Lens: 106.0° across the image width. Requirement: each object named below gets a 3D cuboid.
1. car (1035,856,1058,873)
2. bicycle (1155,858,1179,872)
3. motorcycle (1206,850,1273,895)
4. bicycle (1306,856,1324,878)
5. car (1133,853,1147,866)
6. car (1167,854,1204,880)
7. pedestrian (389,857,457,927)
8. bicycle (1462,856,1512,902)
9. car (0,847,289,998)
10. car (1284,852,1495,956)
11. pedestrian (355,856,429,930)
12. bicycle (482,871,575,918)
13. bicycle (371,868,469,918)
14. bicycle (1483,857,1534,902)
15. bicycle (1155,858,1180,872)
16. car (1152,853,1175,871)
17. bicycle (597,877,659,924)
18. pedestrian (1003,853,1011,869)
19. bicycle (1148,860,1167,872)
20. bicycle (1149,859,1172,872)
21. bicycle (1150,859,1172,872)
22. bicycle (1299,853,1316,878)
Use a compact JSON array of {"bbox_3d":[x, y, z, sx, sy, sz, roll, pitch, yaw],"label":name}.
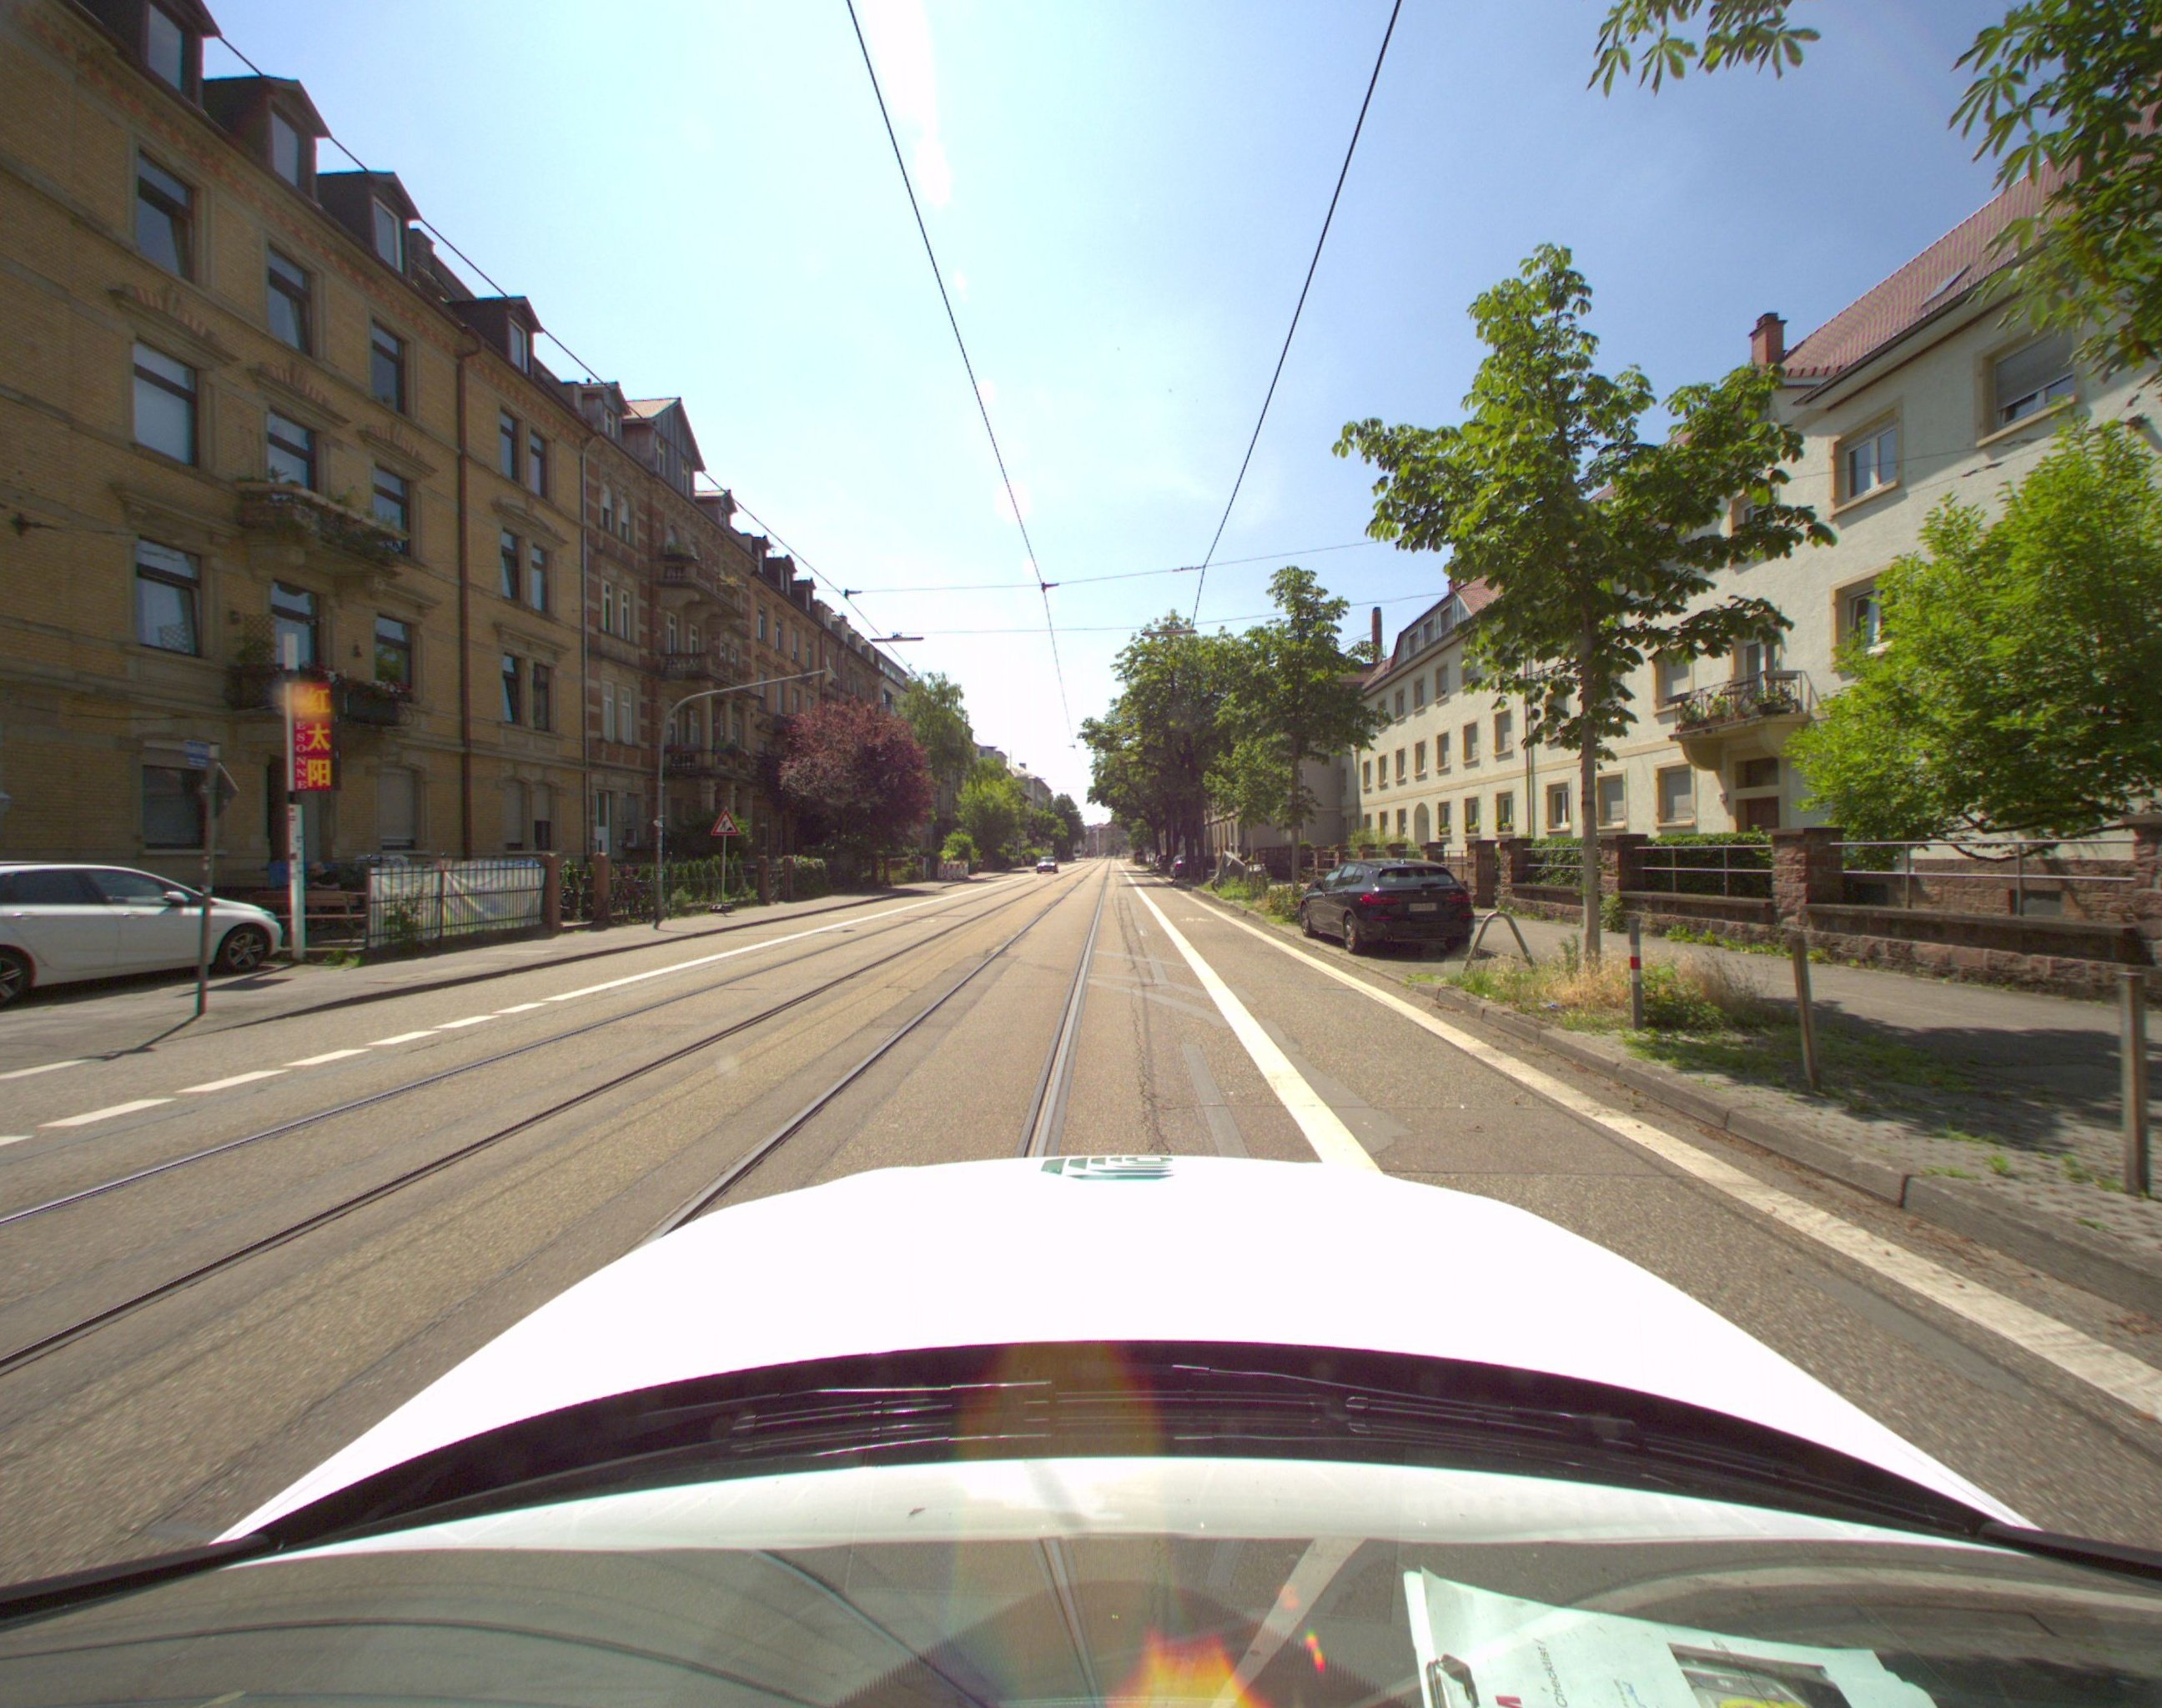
[{"bbox_3d":[-2.977,0.878,70.532,1.680,1.454,3.750,0,0,2],"label":"car"},{"bbox_3d":[6.869,0.874,64.925,1.879,1.052,0.539,-1,-1,8],"label":"bicycle"},{"bbox_3d":[5.701,0.638,29.417,2.292,1.540,0.874,0,0,45],"label":"motorcycle"},{"bbox_3d":[11.525,0.633,40.147,0.457,1.056,1.565,-1,0,2],"label":"bicycle"},{"bbox_3d":[9.078,0.842,126.509,1.985,2.035,4.699,-1,0,2],"label":"car"},{"bbox_3d":[6.492,0.755,50.863,1.767,1.501,4.306,-2,0,1],"label":"car"},{"bbox_3d":[-12.809,0.719,15.879,0.708,1.298,0.711,-2,0,-2],"label":"pedestrian"},{"bbox_3d":[10.404,0.619,20.923,0.496,1.102,1.809,-1,0,5],"label":"bicycle"},{"bbox_3d":[-12.498,0.727,9.874,1.861,1.600,4.097,1,0,-3],"label":"car"},{"bbox_3d":[4.974,0.702,13.972,1.763,1.426,4.861,-1,0,0],"label":"car"},{"bbox_3d":[-12.777,0.709,15.124,0.708,1.298,0.711,-2,0,-2],"label":"pedestrian"},{"bbox_3d":[-12.119,0.887,17.870,1.772,1.003,0.474,0,0,5],"label":"bicycle"},{"bbox_3d":[-13.688,0.800,16.877,1.697,1.003,0.474,0,0,5],"label":"bicycle"},{"bbox_3d":[11.096,0.639,21.177,0.496,1.102,1.809,-1,0,5],"label":"bicycle"},{"bbox_3d":[6.924,0.868,65.301,1.952,1.063,0.600,-1,-1,8],"label":"bicycle"},{"bbox_3d":[7.047,0.694,69.614,1.615,1.448,3.811,-3,-1,2],"label":"car"},{"bbox_3d":[-10.487,1.050,18.919,0.452,1.003,1.805,0,0,-1],"label":"bicycle"},{"bbox_3d":[-7.348,0.687,80.670,0.748,1.629,0.833,0,-1,0],"label":"pedestrian"},{"bbox_3d":[7.429,1.160,79.041,1.809,1.113,0.493,-1,-2,1],"label":"bicycle"},{"bbox_3d":[7.287,1.031,74.764,2.001,1.113,0.640,-2,-2,4],"label":"bicycle"},{"bbox_3d":[7.275,1.025,74.083,1.954,1.113,0.599,-2,-2,4],"label":"bicycle"},{"bbox_3d":[11.148,0.556,40.151,0.457,1.191,1.565,-1,0,2],"label":"bicycle"}]
